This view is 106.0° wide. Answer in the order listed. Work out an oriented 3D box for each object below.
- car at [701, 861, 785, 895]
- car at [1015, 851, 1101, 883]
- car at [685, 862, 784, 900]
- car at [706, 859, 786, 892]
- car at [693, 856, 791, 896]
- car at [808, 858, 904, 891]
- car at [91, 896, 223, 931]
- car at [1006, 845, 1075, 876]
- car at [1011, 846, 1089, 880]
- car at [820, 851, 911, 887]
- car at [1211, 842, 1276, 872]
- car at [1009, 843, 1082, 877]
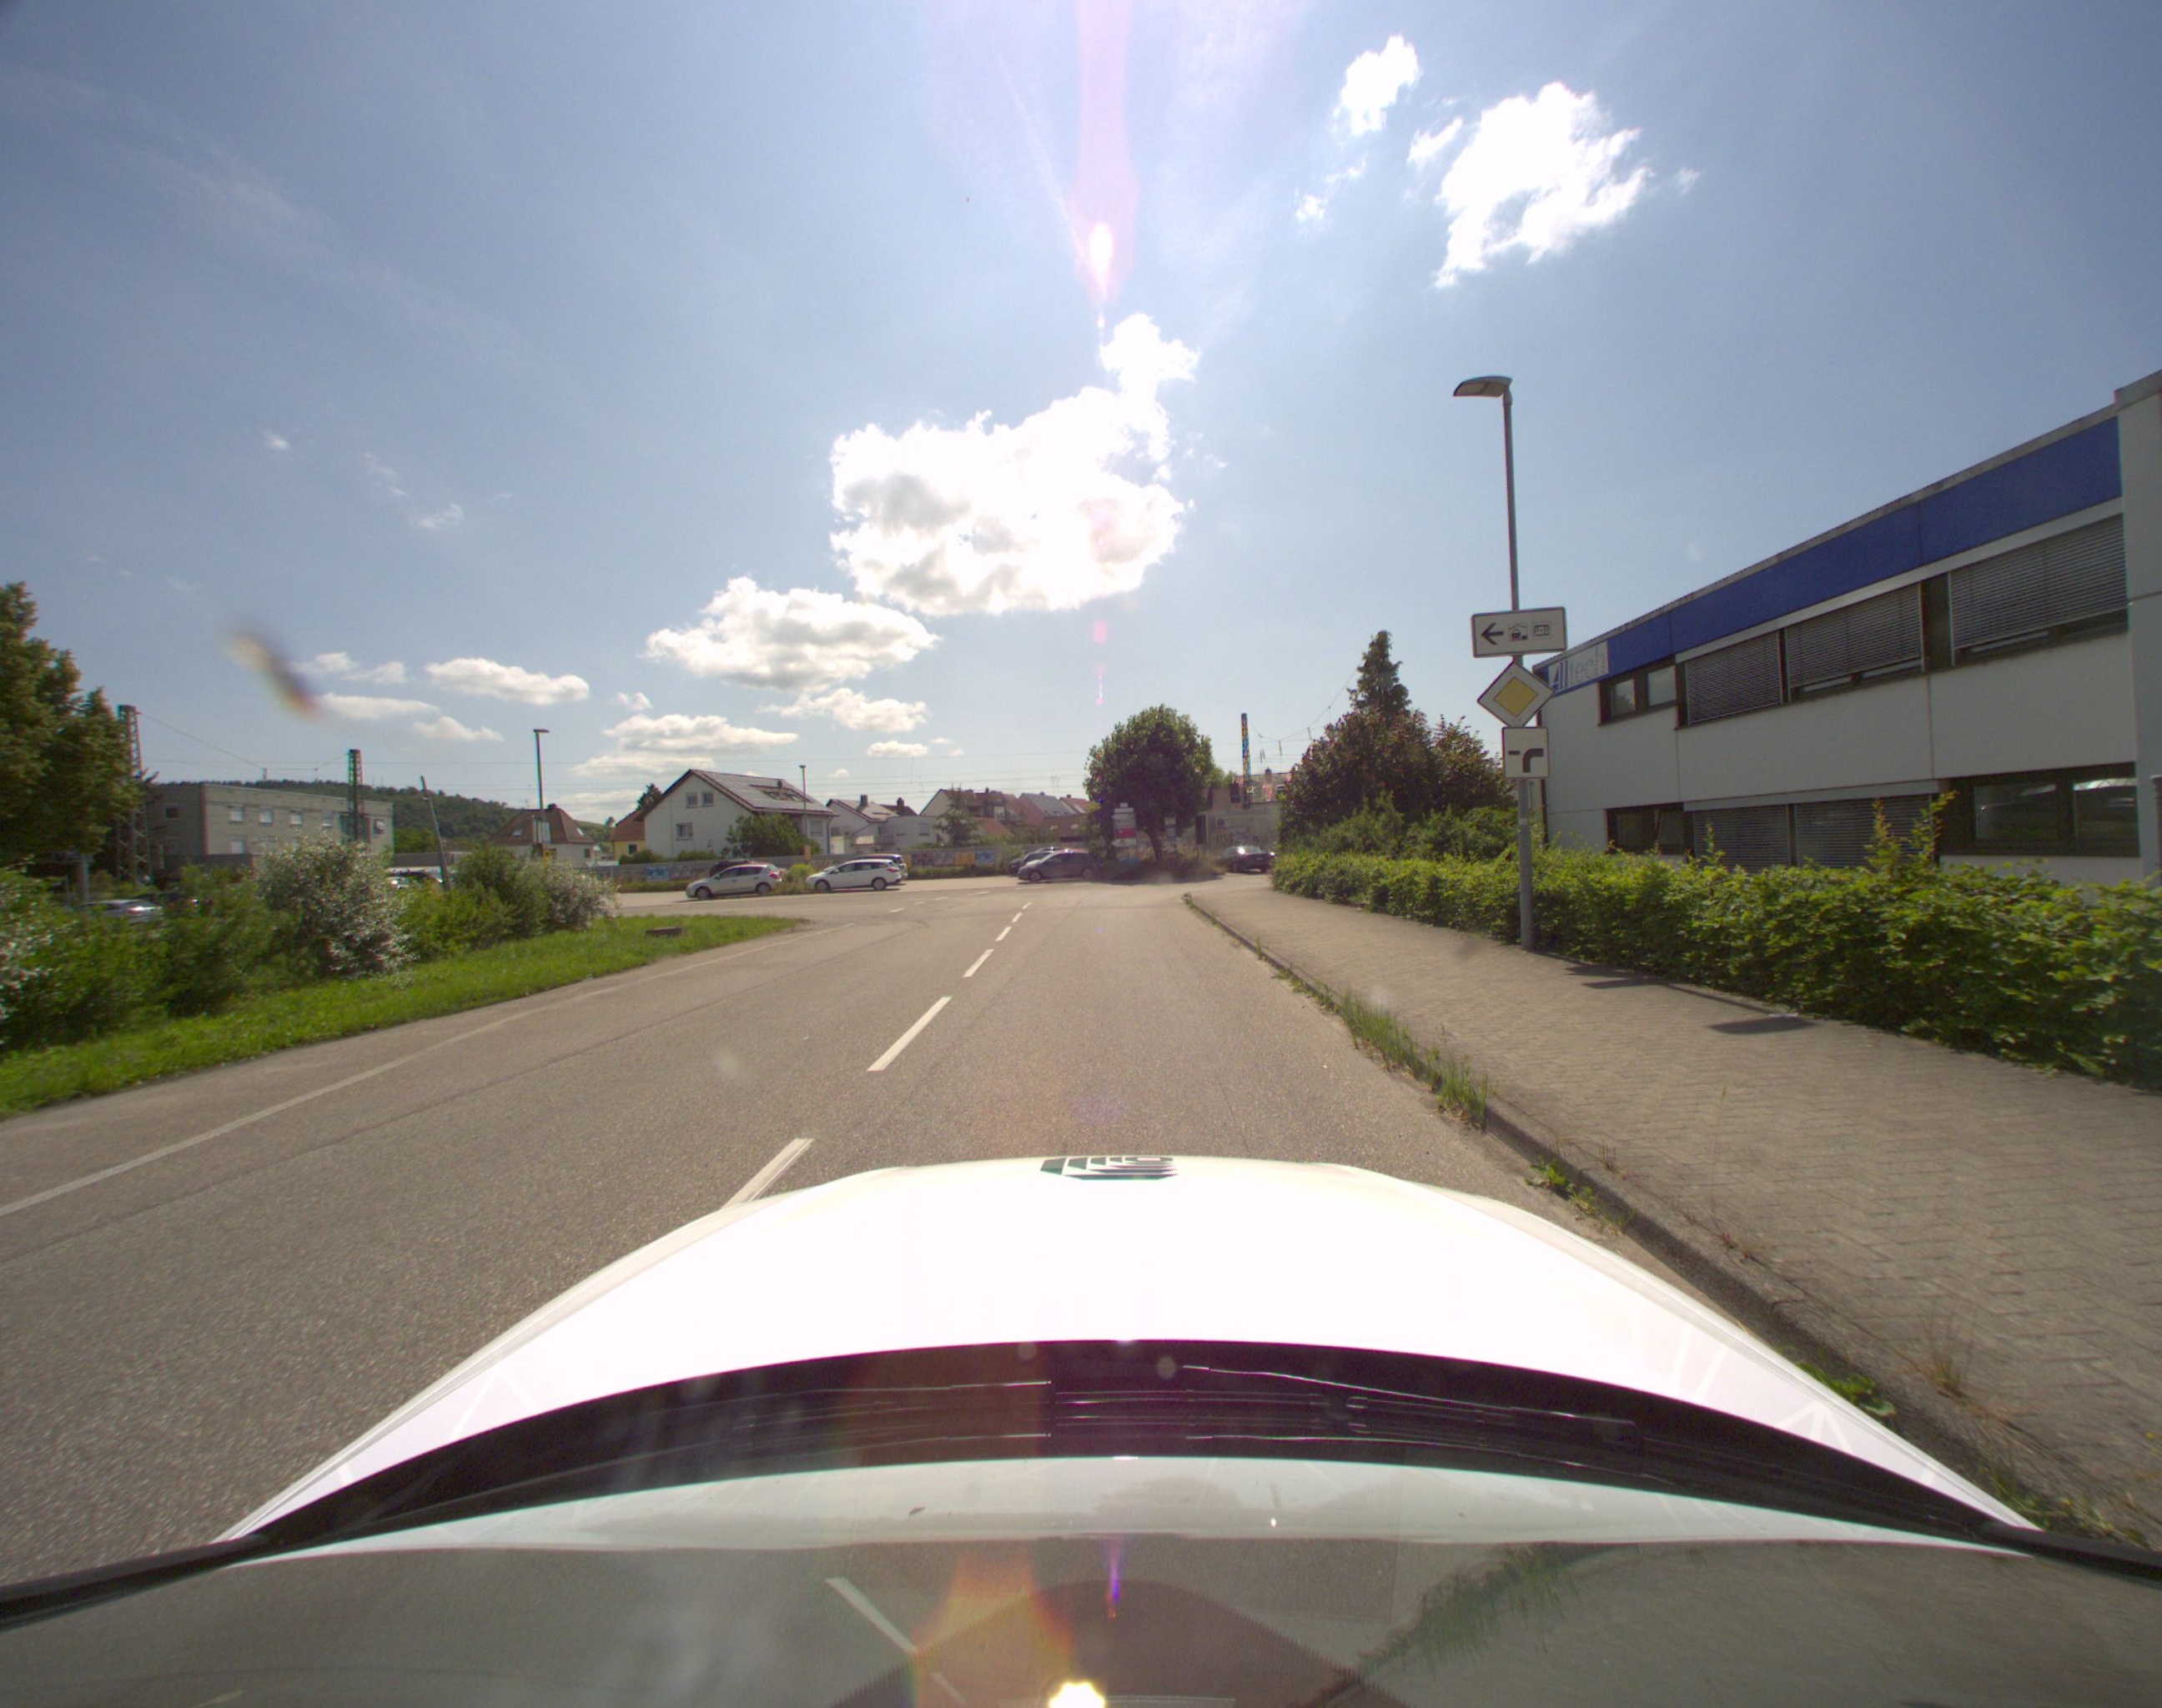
[{"bbox_3d":[-17.886,1.228,43.271,3.785,1.558,1.688,-3,0,-12],"label":"car"},{"bbox_3d":[-1.199,0.653,41.220,4.183,1.463,1.661,-2,-1,-7],"label":"car"},{"bbox_3d":[-16.371,1.242,38.677,4.009,1.562,1.813,-2,0,-16],"label":"car"},{"bbox_3d":[-18.546,1.176,45.187,3.835,1.589,1.490,-3,0,-13],"label":"car"},{"bbox_3d":[-16.907,1.091,40.808,4.168,1.638,1.945,-4,0,-15],"label":"car"},{"bbox_3d":[-10.892,0.972,39.681,4.283,1.477,1.821,-1,-1,-10],"label":"car"},{"bbox_3d":[-43.638,2.796,38.541,3.986,1.313,1.530,-3,0,-9],"label":"car"},{"bbox_3d":[-2.411,0.398,48.329,3.984,1.730,1.765,-1,-1,-8],"label":"car"},{"bbox_3d":[-1.712,0.486,43.685,3.983,1.586,1.775,-3,-1,-7],"label":"car"},{"bbox_3d":[-11.658,0.793,44.314,4.447,1.690,1.996,-2,1,-7],"label":"car"},{"bbox_3d":[8.731,0.125,44.190,1.756,1.385,3.977,-1,3,-18],"label":"car"},{"bbox_3d":[-2.053,0.333,46.304,3.984,1.657,1.995,-3,0,-8],"label":"car"}]
